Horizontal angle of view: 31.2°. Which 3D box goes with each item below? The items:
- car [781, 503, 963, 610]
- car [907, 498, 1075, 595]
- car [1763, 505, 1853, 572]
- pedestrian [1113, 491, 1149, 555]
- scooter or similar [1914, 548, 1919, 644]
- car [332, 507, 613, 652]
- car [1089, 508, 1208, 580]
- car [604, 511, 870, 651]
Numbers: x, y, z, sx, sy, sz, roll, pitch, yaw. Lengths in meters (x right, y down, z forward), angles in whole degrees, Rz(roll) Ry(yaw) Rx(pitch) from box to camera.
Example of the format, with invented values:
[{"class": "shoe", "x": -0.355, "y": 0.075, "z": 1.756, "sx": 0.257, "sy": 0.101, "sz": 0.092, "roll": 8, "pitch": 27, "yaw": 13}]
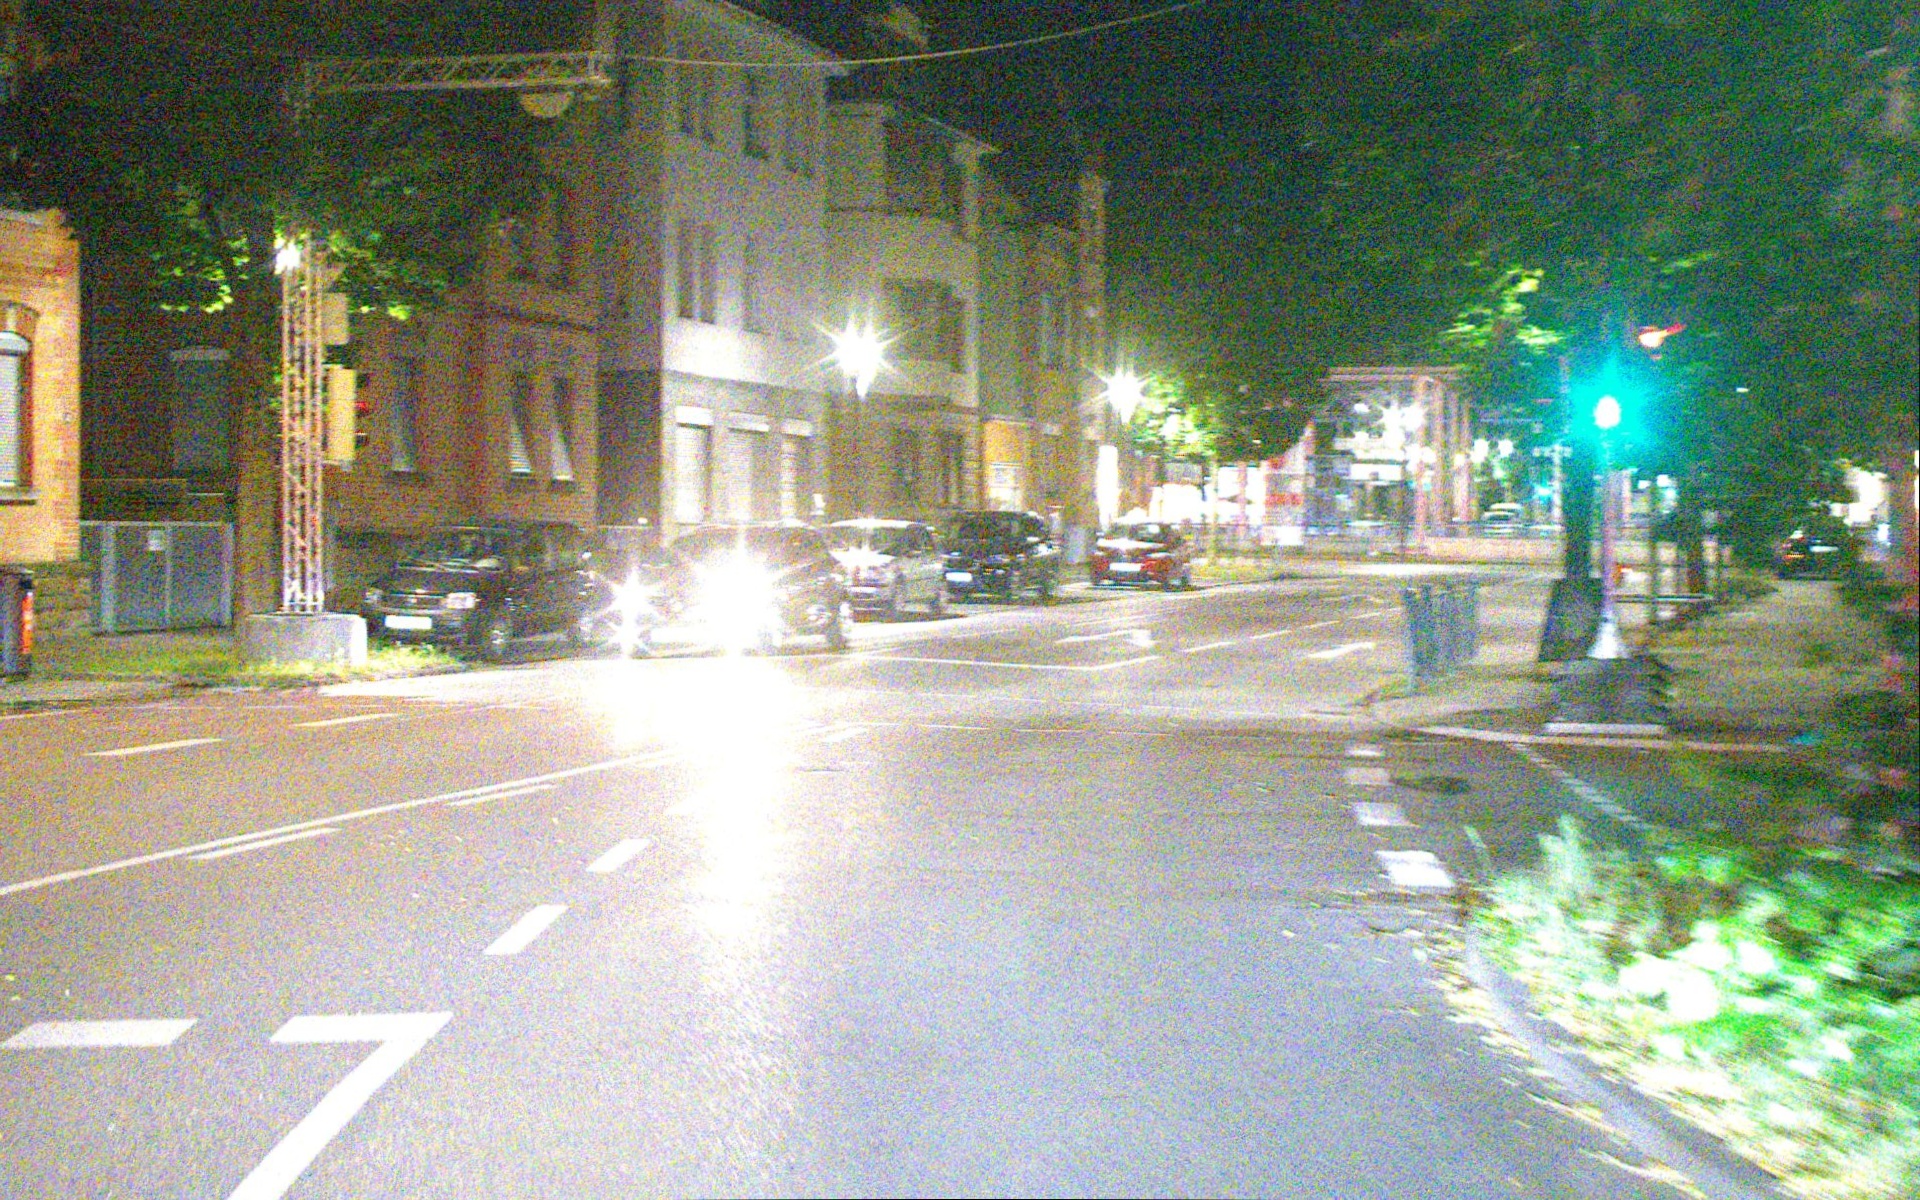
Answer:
[{"class": "car", "x": -1.317, "y": -0.706, "z": 53.156, "sx": 1.785, "sy": 1.486, "sz": 3.998, "roll": 3, "pitch": 3, "yaw": 13}, {"class": "car", "x": 0.593, "y": -0.984, "z": 60.936, "sx": 1.786, "sy": 1.576, "sz": 4.408, "roll": 3, "pitch": 3, "yaw": 16}, {"class": "car", "x": 19.275, "y": -1.431, "z": 78.293, "sx": 1.734, "sy": 1.454, "sz": 4.726, "roll": 1, "pitch": 2, "yaw": 11}, {"class": "pedestrian", "x": 4.887, "y": -2.203, "z": 98.420, "sx": 0.723, "sy": 1.815, "sz": 0.692, "roll": 1, "pitch": 1, "yaw": -31}, {"class": "scooter or similar", "x": 11.808, "y": -0.062, "z": 41.435, "sx": 0.422, "sy": 1.126, "sz": 1.492, "roll": 0, "pitch": 2, "yaw": 23}, {"class": "car", "x": -5.475, "y": -0.270, "z": 39.029, "sx": 1.594, "sy": 1.486, "sz": 3.696, "roll": 3, "pitch": 3, "yaw": 19}, {"class": "car", "x": 4.041, "y": -1.218, "z": 73.201, "sx": 1.785, "sy": 1.410, "sz": 4.124, "roll": 2, "pitch": 2, "yaw": 13}, {"class": "car", "x": -2.427, "y": -0.247, "z": 38.421, "sx": 1.716, "sy": 1.424, "sz": 3.997, "roll": -1, "pitch": 1, "yaw": 15}]
